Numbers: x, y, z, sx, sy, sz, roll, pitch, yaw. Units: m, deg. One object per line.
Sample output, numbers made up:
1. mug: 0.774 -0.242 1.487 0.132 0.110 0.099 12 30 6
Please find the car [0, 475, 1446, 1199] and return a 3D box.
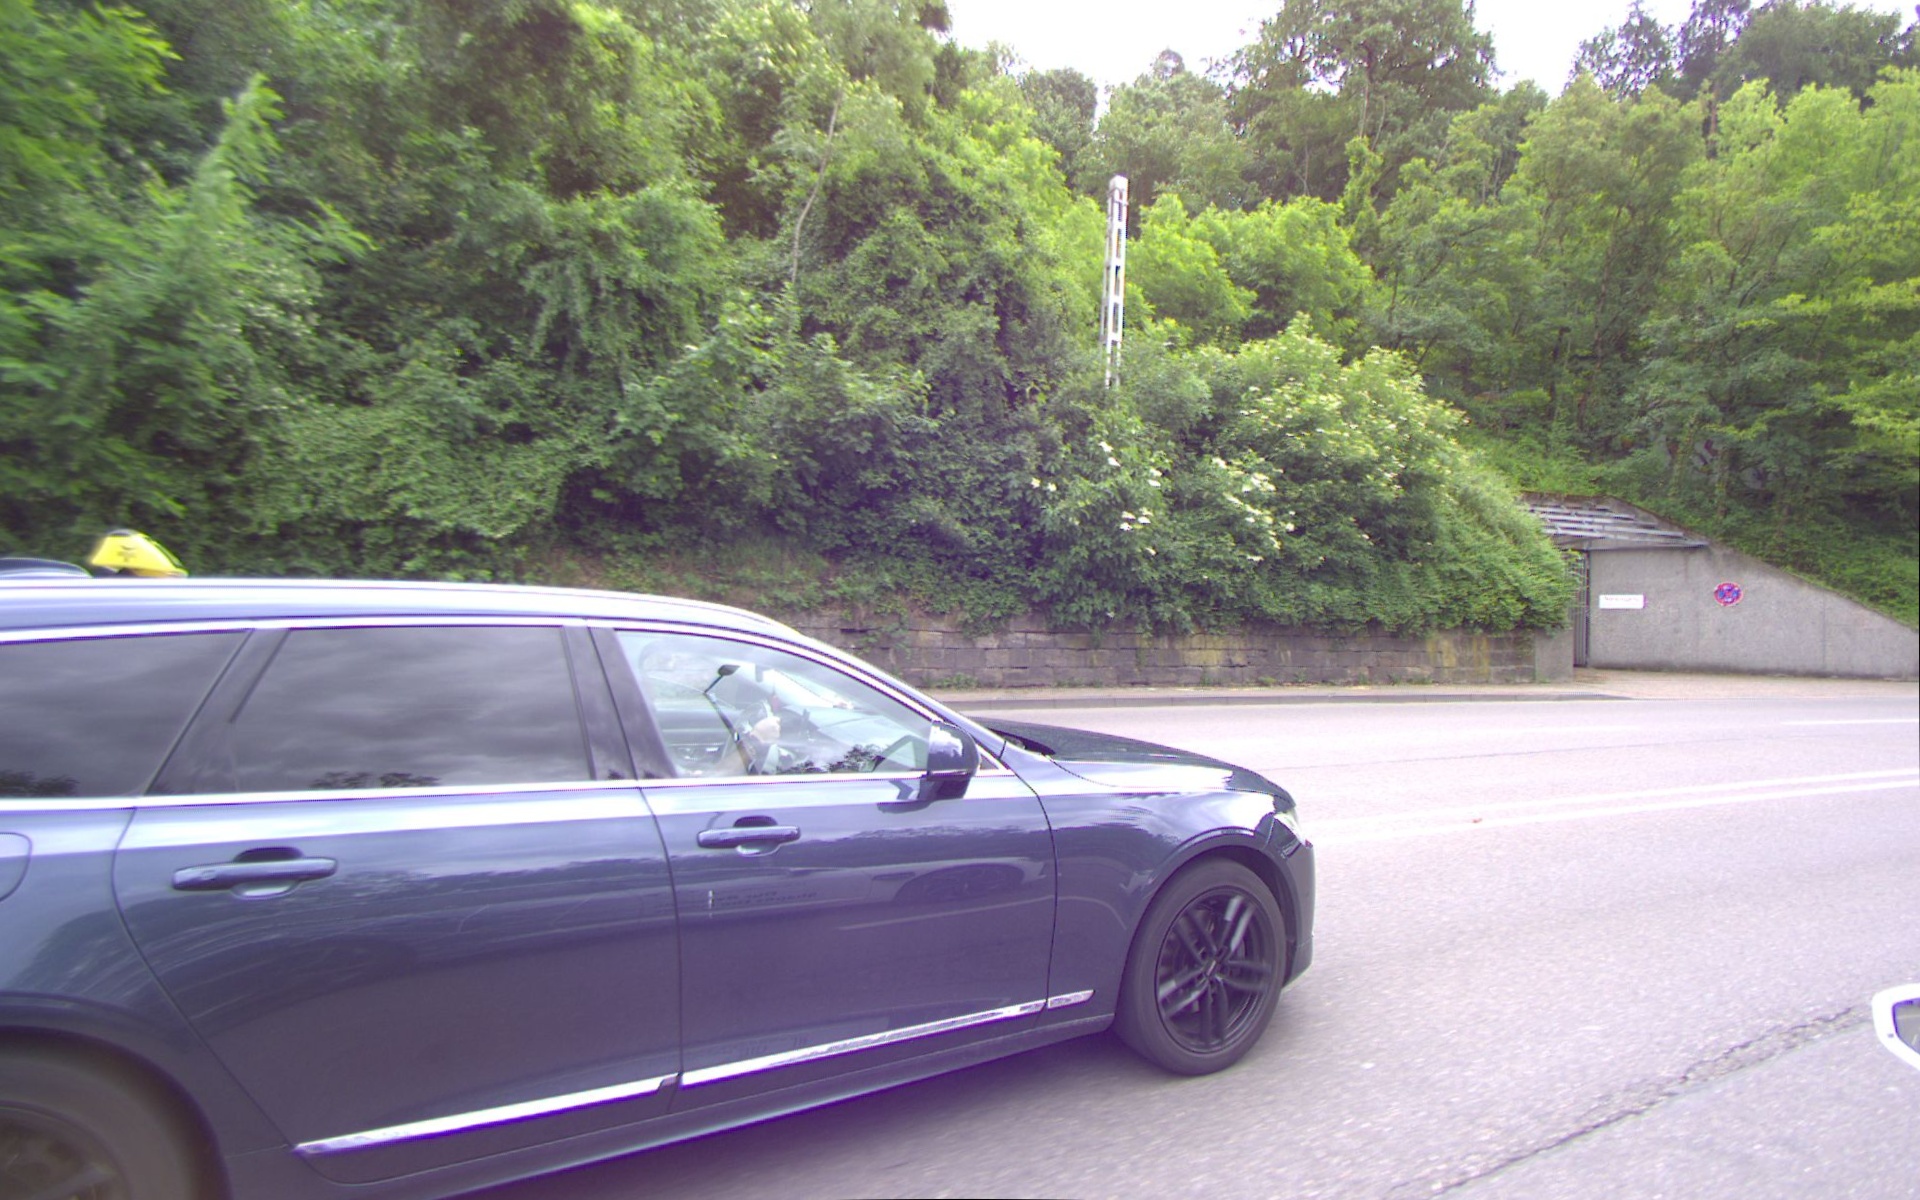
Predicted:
1. car: -0.868 0.656 3.073 4.976 1.597 1.923 5 0 -34
